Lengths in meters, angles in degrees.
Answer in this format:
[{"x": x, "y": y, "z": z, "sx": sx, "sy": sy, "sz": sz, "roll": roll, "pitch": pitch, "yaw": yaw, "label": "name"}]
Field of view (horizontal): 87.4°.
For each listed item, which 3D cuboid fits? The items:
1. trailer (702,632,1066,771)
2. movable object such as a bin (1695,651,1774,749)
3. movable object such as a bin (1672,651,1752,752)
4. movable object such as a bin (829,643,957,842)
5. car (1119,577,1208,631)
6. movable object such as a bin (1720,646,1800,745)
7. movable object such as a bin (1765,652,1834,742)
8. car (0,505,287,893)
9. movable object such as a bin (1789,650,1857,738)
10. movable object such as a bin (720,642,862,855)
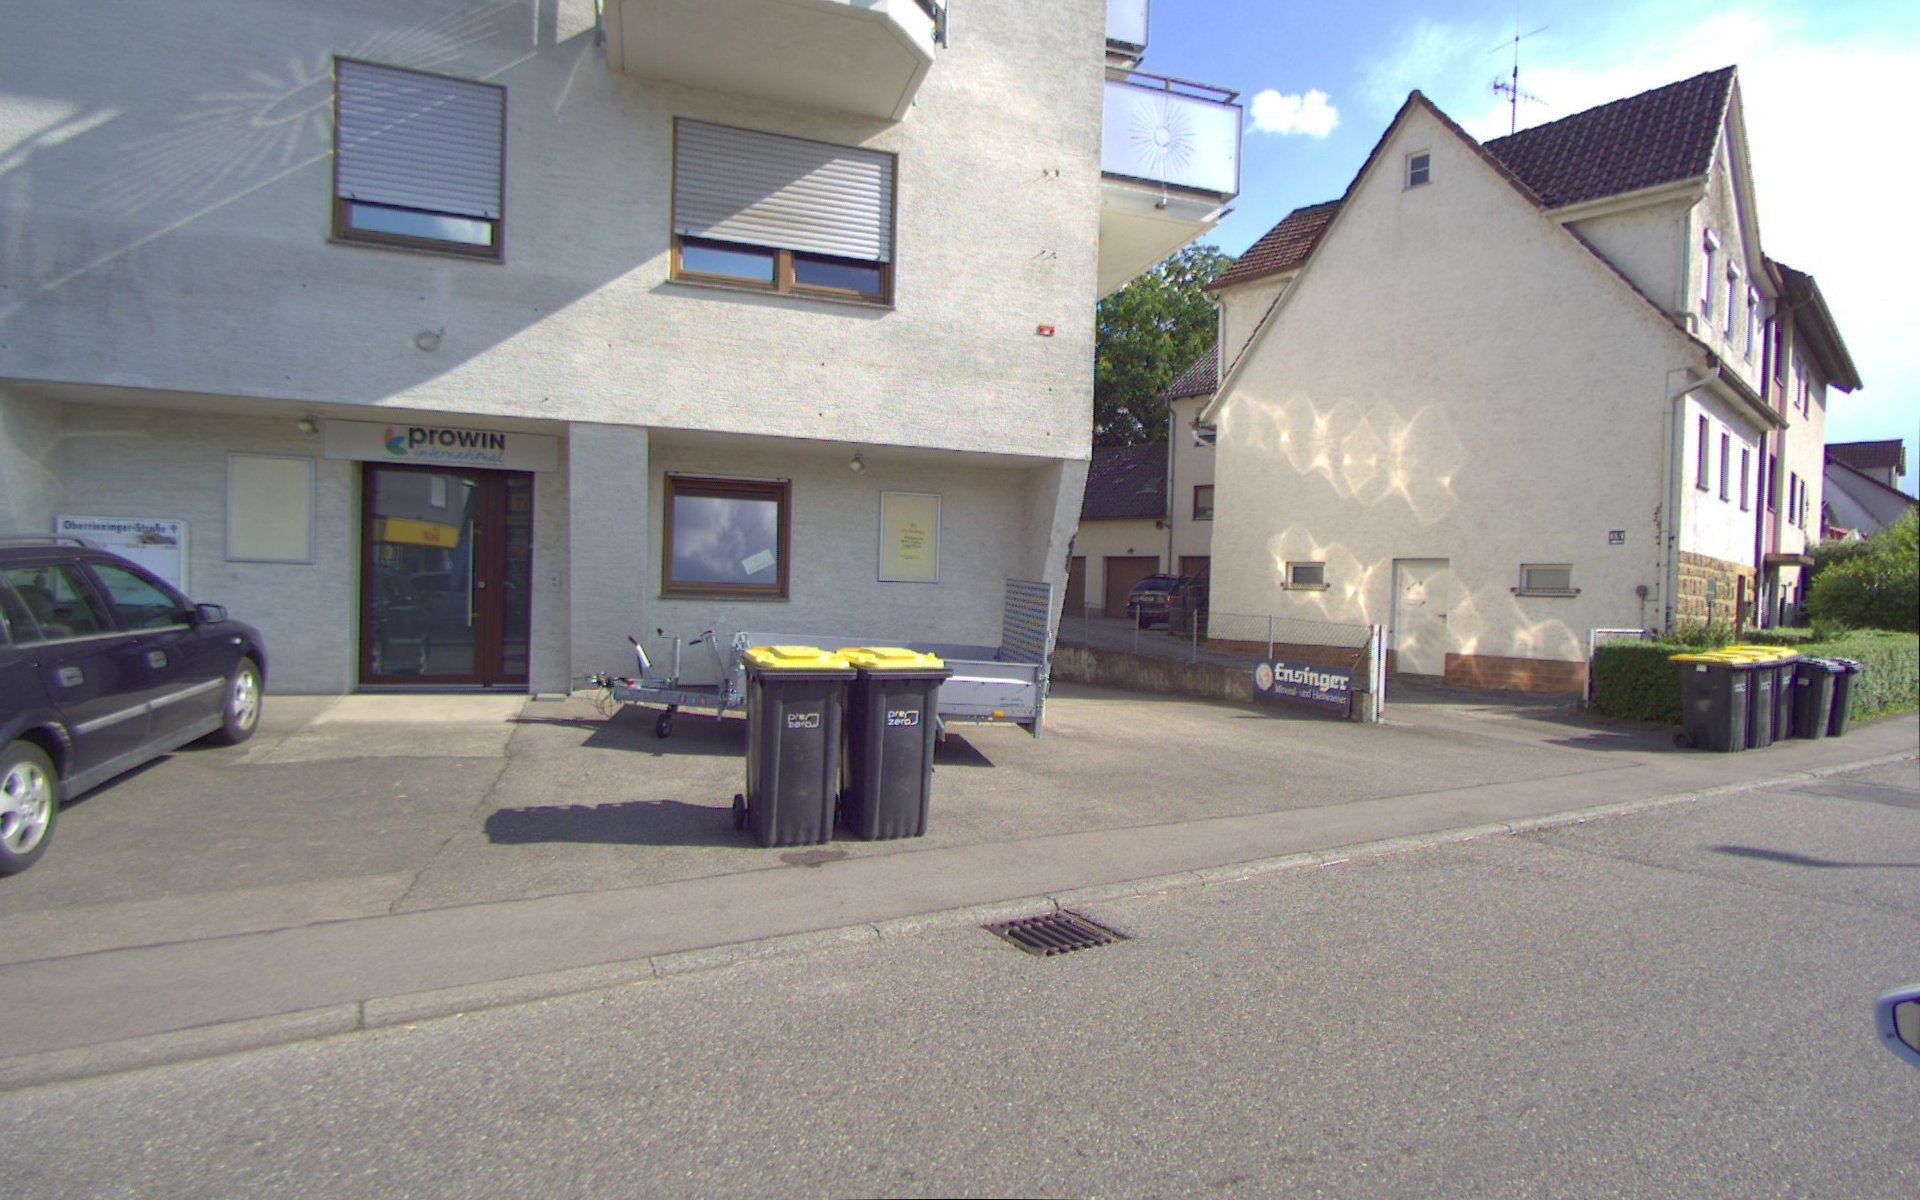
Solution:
[{"x": -0.683, "y": 0.845, "z": 8.576, "sx": 2.842, "sy": 0.867, "sz": 1.331, "roll": 4, "pitch": 2, "yaw": -13, "label": "trailer"}, {"x": 9.114, "y": 1.161, "z": 11.832, "sx": 0.523, "sy": 1.098, "sz": 0.585, "roll": 1, "pitch": -1, "yaw": -30, "label": "movable object such as a bin"}, {"x": 8.619, "y": 1.147, "z": 11.517, "sx": 0.502, "sy": 1.098, "sz": 0.585, "roll": 1, "pitch": -1, "yaw": -30, "label": "movable object such as a bin"}, {"x": -0.419, "y": 0.831, "z": 6.114, "sx": 0.551, "sy": 1.085, "sz": 0.567, "roll": 1, "pitch": 3, "yaw": -30, "label": "movable object such as a bin"}, {"x": 5.637, "y": 0.104, "z": 27.505, "sx": 1.403, "sy": 1.380, "sz": 3.473, "roll": 2, "pitch": 0, "yaw": 29, "label": "car"}, {"x": 9.670, "y": 1.133, "z": 12.146, "sx": 0.610, "sy": 1.137, "sz": 0.585, "roll": 1, "pitch": -1, "yaw": -30, "label": "movable object such as a bin"}, {"x": 10.238, "y": 1.166, "z": 12.252, "sx": 0.452, "sy": 1.036, "sz": 0.529, "roll": 1, "pitch": -1, "yaw": -30, "label": "movable object such as a bin"}, {"x": -5.333, "y": 0.313, "z": 5.421, "sx": 1.734, "sy": 1.559, "sz": 3.983, "roll": 1, "pitch": 5, "yaw": -17, "label": "car"}, {"x": 10.720, "y": 1.153, "z": 12.481, "sx": 0.452, "sy": 1.036, "sz": 0.529, "roll": 1, "pitch": -1, "yaw": -30, "label": "movable object such as a bin"}, {"x": -0.982, "y": 0.816, "z": 5.790, "sx": 0.611, "sy": 1.085, "sz": 0.597, "roll": 1, "pitch": 3, "yaw": -30, "label": "movable object such as a bin"}]
